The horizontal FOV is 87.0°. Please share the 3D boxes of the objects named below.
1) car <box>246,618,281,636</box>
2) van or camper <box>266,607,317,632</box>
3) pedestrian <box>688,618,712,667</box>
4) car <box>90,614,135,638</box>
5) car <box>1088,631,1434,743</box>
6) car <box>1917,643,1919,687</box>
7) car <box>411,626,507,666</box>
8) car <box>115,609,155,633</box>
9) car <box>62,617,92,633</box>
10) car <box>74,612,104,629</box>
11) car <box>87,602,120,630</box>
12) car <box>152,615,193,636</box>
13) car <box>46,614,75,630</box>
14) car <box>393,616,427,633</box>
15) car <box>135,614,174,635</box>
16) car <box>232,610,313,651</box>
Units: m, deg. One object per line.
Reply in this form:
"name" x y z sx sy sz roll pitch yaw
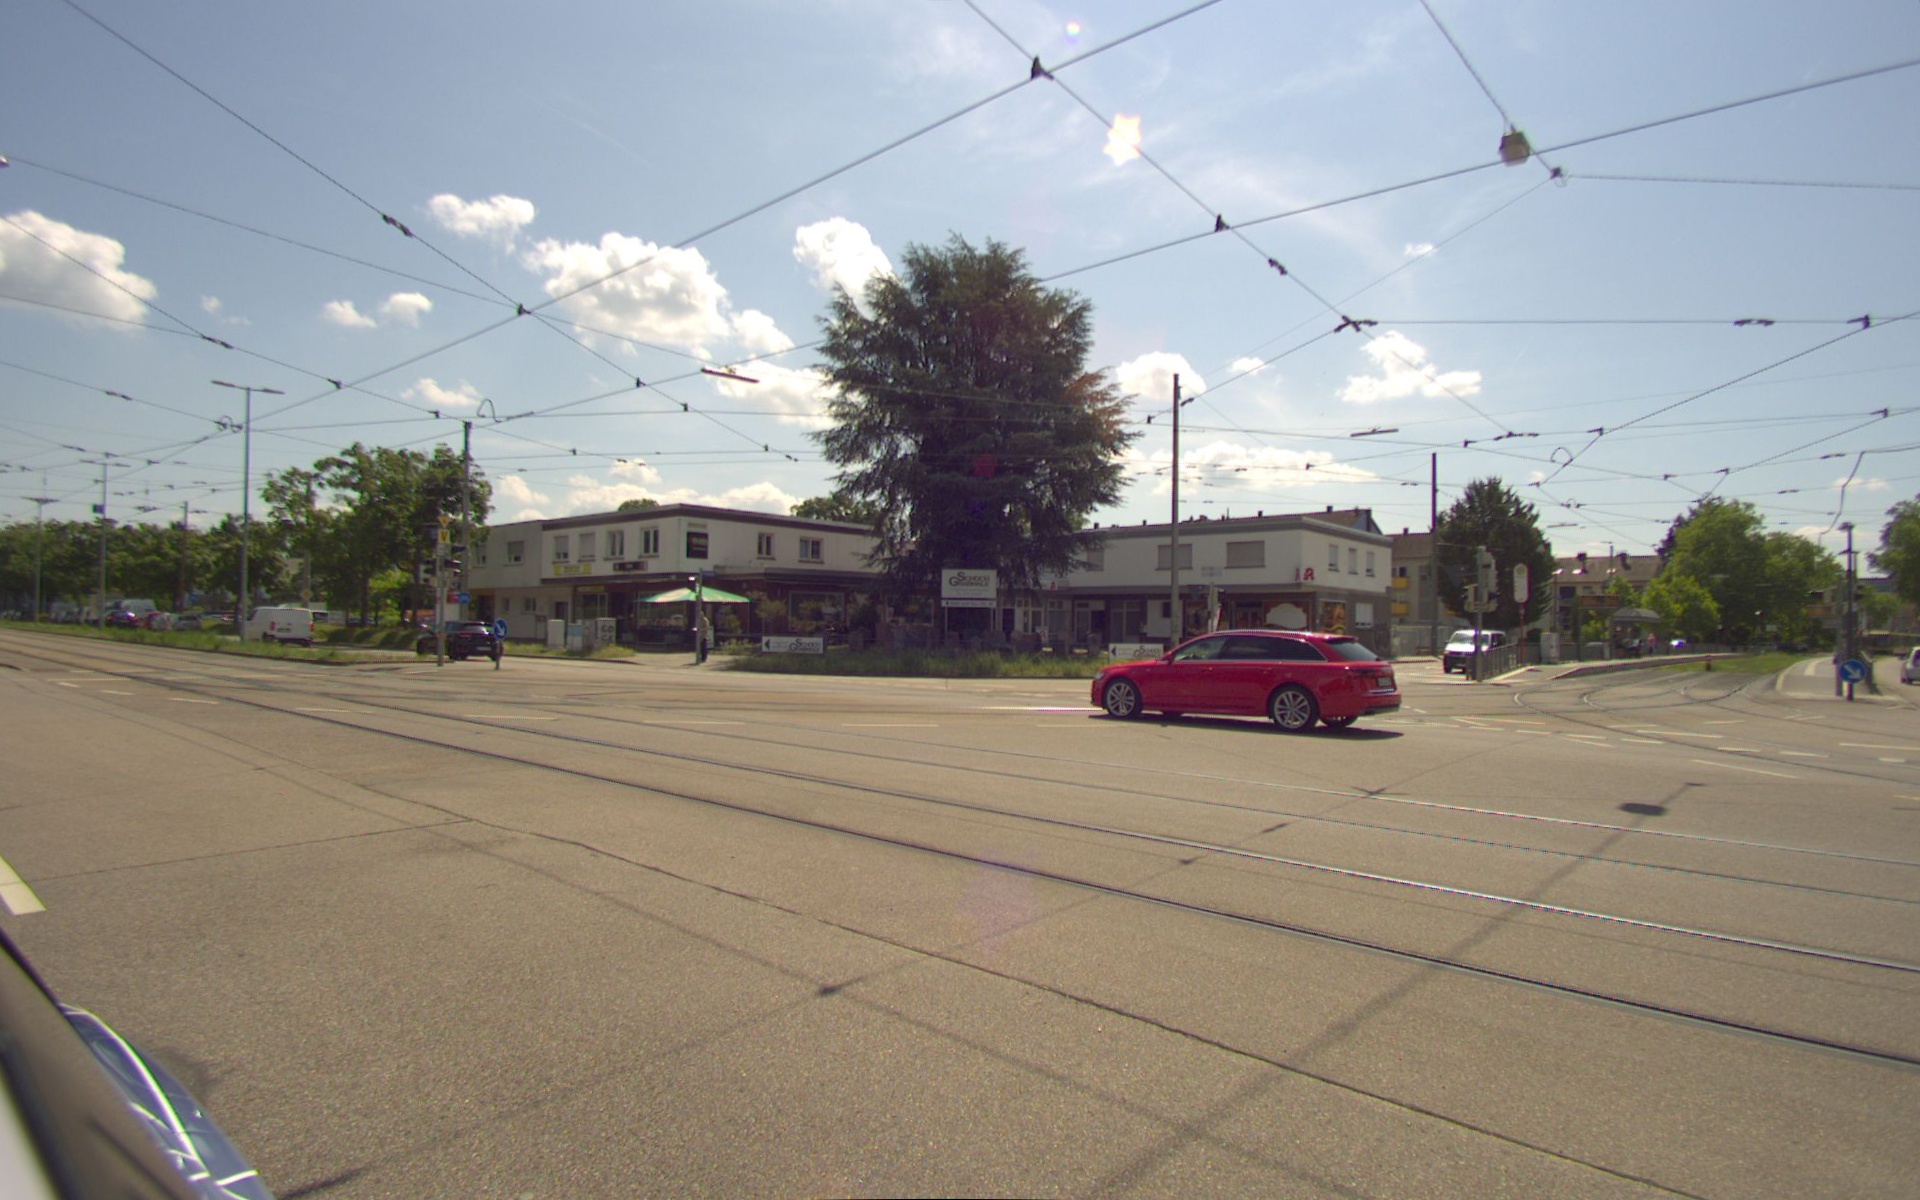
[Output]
"car" -67.499 2.595 98.065 3.997 1.706 1.722 -1 -3 40
"van or camper" -87.837 2.607 133.092 2.246 3.141 5.091 -1 -3 40
"pedestrian" -9.673 1.581 37.612 0.679 1.788 0.485 0 2 22
"car" -58.836 1.815 70.237 3.997 1.608 1.722 -1 -3 40
"car" 4.566 1.245 15.823 4.819 1.461 1.973 -1 -3 41
"car" 37.847 2.475 38.531 2.000 1.618 4.752 -1 -3 43
"car" -18.365 1.664 37.035 3.999 1.364 1.760 -1 -3 42
"car" -71.289 1.810 87.437 3.997 1.980 1.941 -1 -3 40
"car" -93.970 2.657 107.665 3.997 1.706 1.722 -1 -3 40
"car" -88.804 2.072 103.179 3.997 1.706 1.722 -1 -3 40
"car" -82.348 1.583 97.251 3.997 2.608 1.722 -1 -3 40
"car" -61.895 1.977 79.486 3.997 1.608 1.722 -1 -3 40
"car" -98.942 2.470 111.294 3.997 1.706 1.722 -1 -3 40
"car" -57.003 2.559 104.882 3.997 1.706 1.722 -1 -3 40
"car" -66.240 2.023 83.220 3.997 1.608 1.722 -1 -3 40
"car" -32.946 1.446 48.477 4.548 1.890 1.840 -1 -3 38
